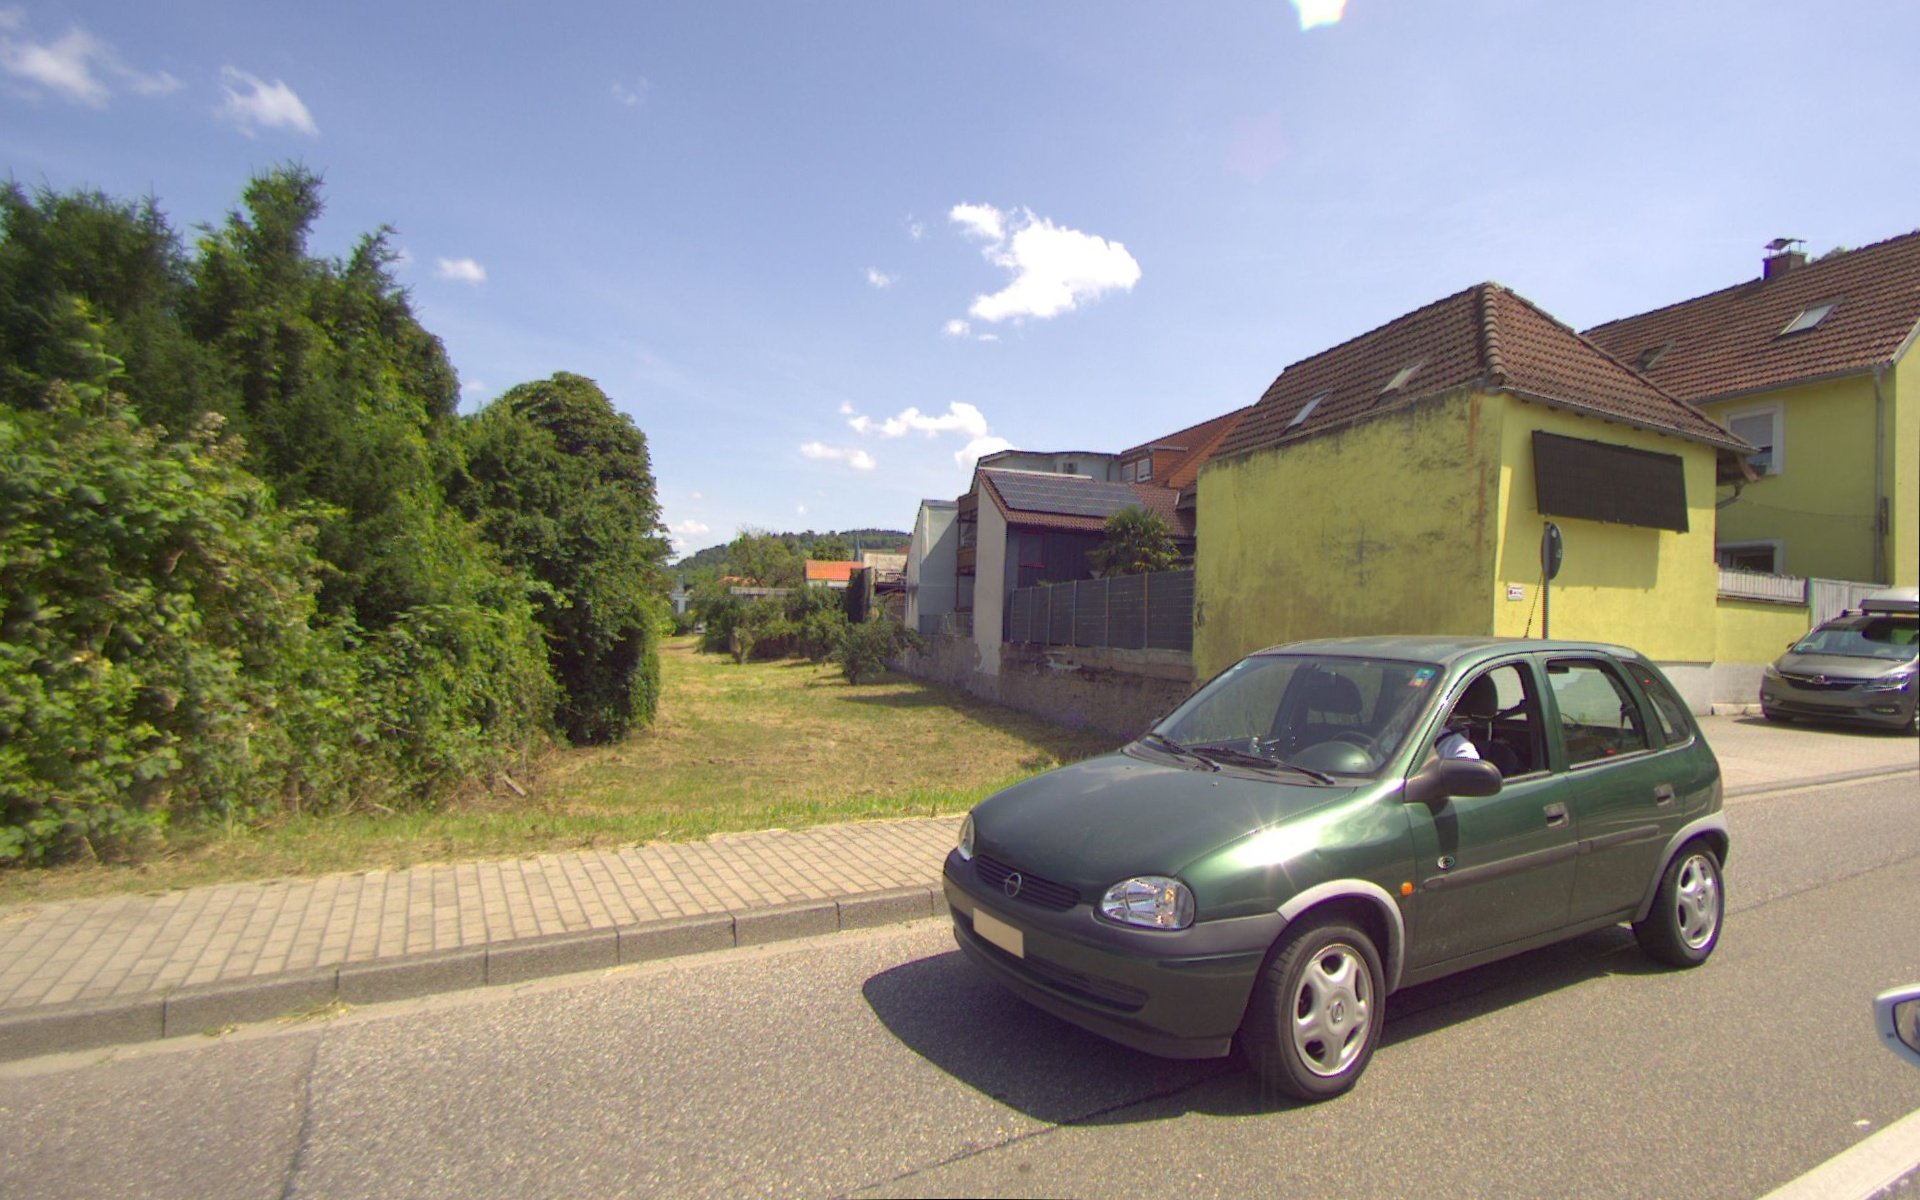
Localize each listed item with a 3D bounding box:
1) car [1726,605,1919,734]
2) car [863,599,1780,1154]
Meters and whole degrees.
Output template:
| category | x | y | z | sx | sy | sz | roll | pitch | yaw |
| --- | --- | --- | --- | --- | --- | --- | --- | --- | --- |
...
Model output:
| category | x | y | z | sx | sy | sz | roll | pitch | yaw |
| --- | --- | --- | --- | --- | --- | --- | --- | --- | --- |
| car | 13.927 | 0.987 | 15.268 | 4.575 | 1.657 | 1.984 | 2 | 1 | -30 |
| car | 1.681 | 0.795 | 4.401 | 3.828 | 1.452 | 1.771 | 2 | -2 | -31 |
